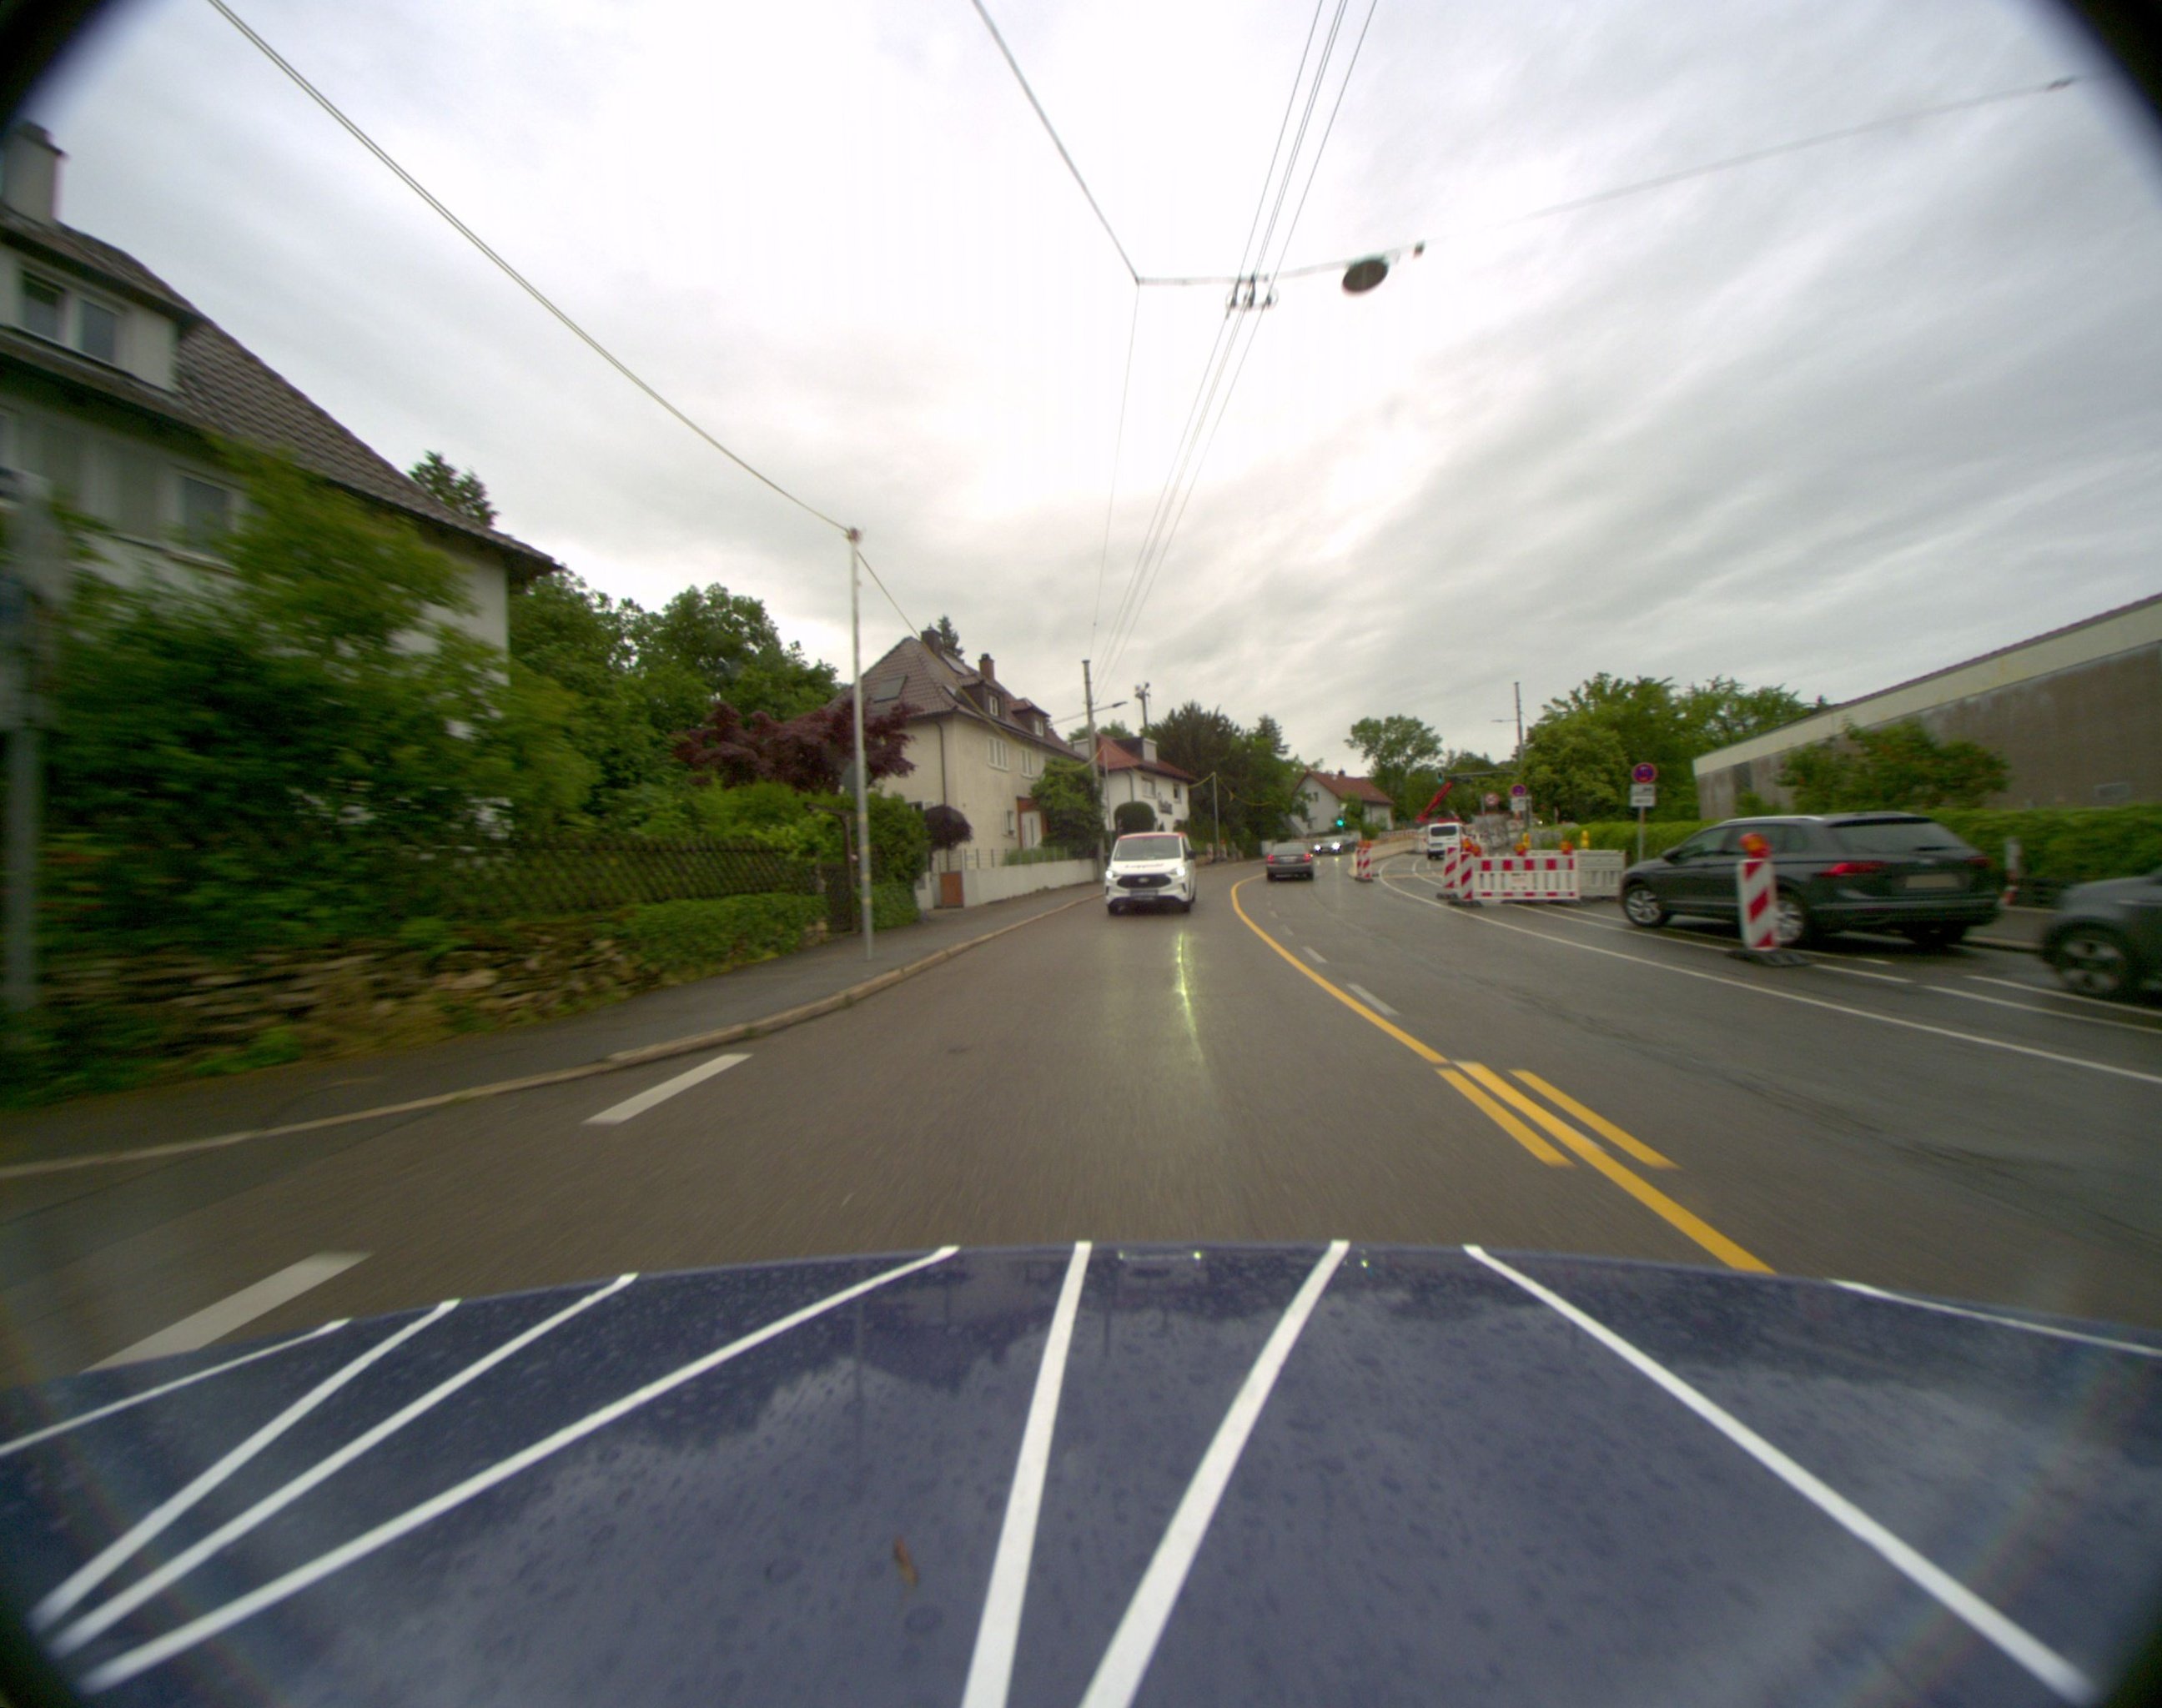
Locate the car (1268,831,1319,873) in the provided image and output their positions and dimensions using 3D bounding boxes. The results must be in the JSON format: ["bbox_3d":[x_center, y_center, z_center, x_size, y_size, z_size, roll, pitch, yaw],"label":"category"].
[{"bbox_3d":[8.663,-0.121,30.975,1.792,1.482,4.676,-3,1,16],"label":"car"}]

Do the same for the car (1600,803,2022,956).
[{"bbox_3d":[9.521,0.239,10.556,1.723,1.599,4.463,-3,1,4],"label":"car"}]

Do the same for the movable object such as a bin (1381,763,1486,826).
[{"bbox_3d":[41.056,-6.796,88.478,7.049,6.516,9.031,-5,3,-45],"label":"movable object such as a bin"}]

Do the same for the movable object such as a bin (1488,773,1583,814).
[{"bbox_3d":[65.539,-8.714,109.508,13.549,5.169,5.244,-4,3,-27],"label":"movable object such as a bin"}]

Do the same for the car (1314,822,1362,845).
[{"bbox_3d":[19.365,-1.558,57.175,1.984,1.428,4.522,-2,3,38],"label":"car"}]

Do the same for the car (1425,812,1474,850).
[{"bbox_3d":[19.472,-1.252,40.033,1.806,1.791,4.470,-2,2,32],"label":"car"}]

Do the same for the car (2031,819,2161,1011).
[{"bbox_3d":[9.021,0.485,4.889,1.578,1.446,3.464,-2,2,4],"label":"car"}]

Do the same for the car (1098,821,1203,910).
[{"bbox_3d":[1.919,0.173,19.443,2.040,1.928,4.517,-3,2,12],"label":"car"}]

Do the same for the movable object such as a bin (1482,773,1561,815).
[{"bbox_3d":[57.979,-7.845,100.182,3.329,5.026,8.305,-5,3,-34],"label":"movable object such as a bin"}]
